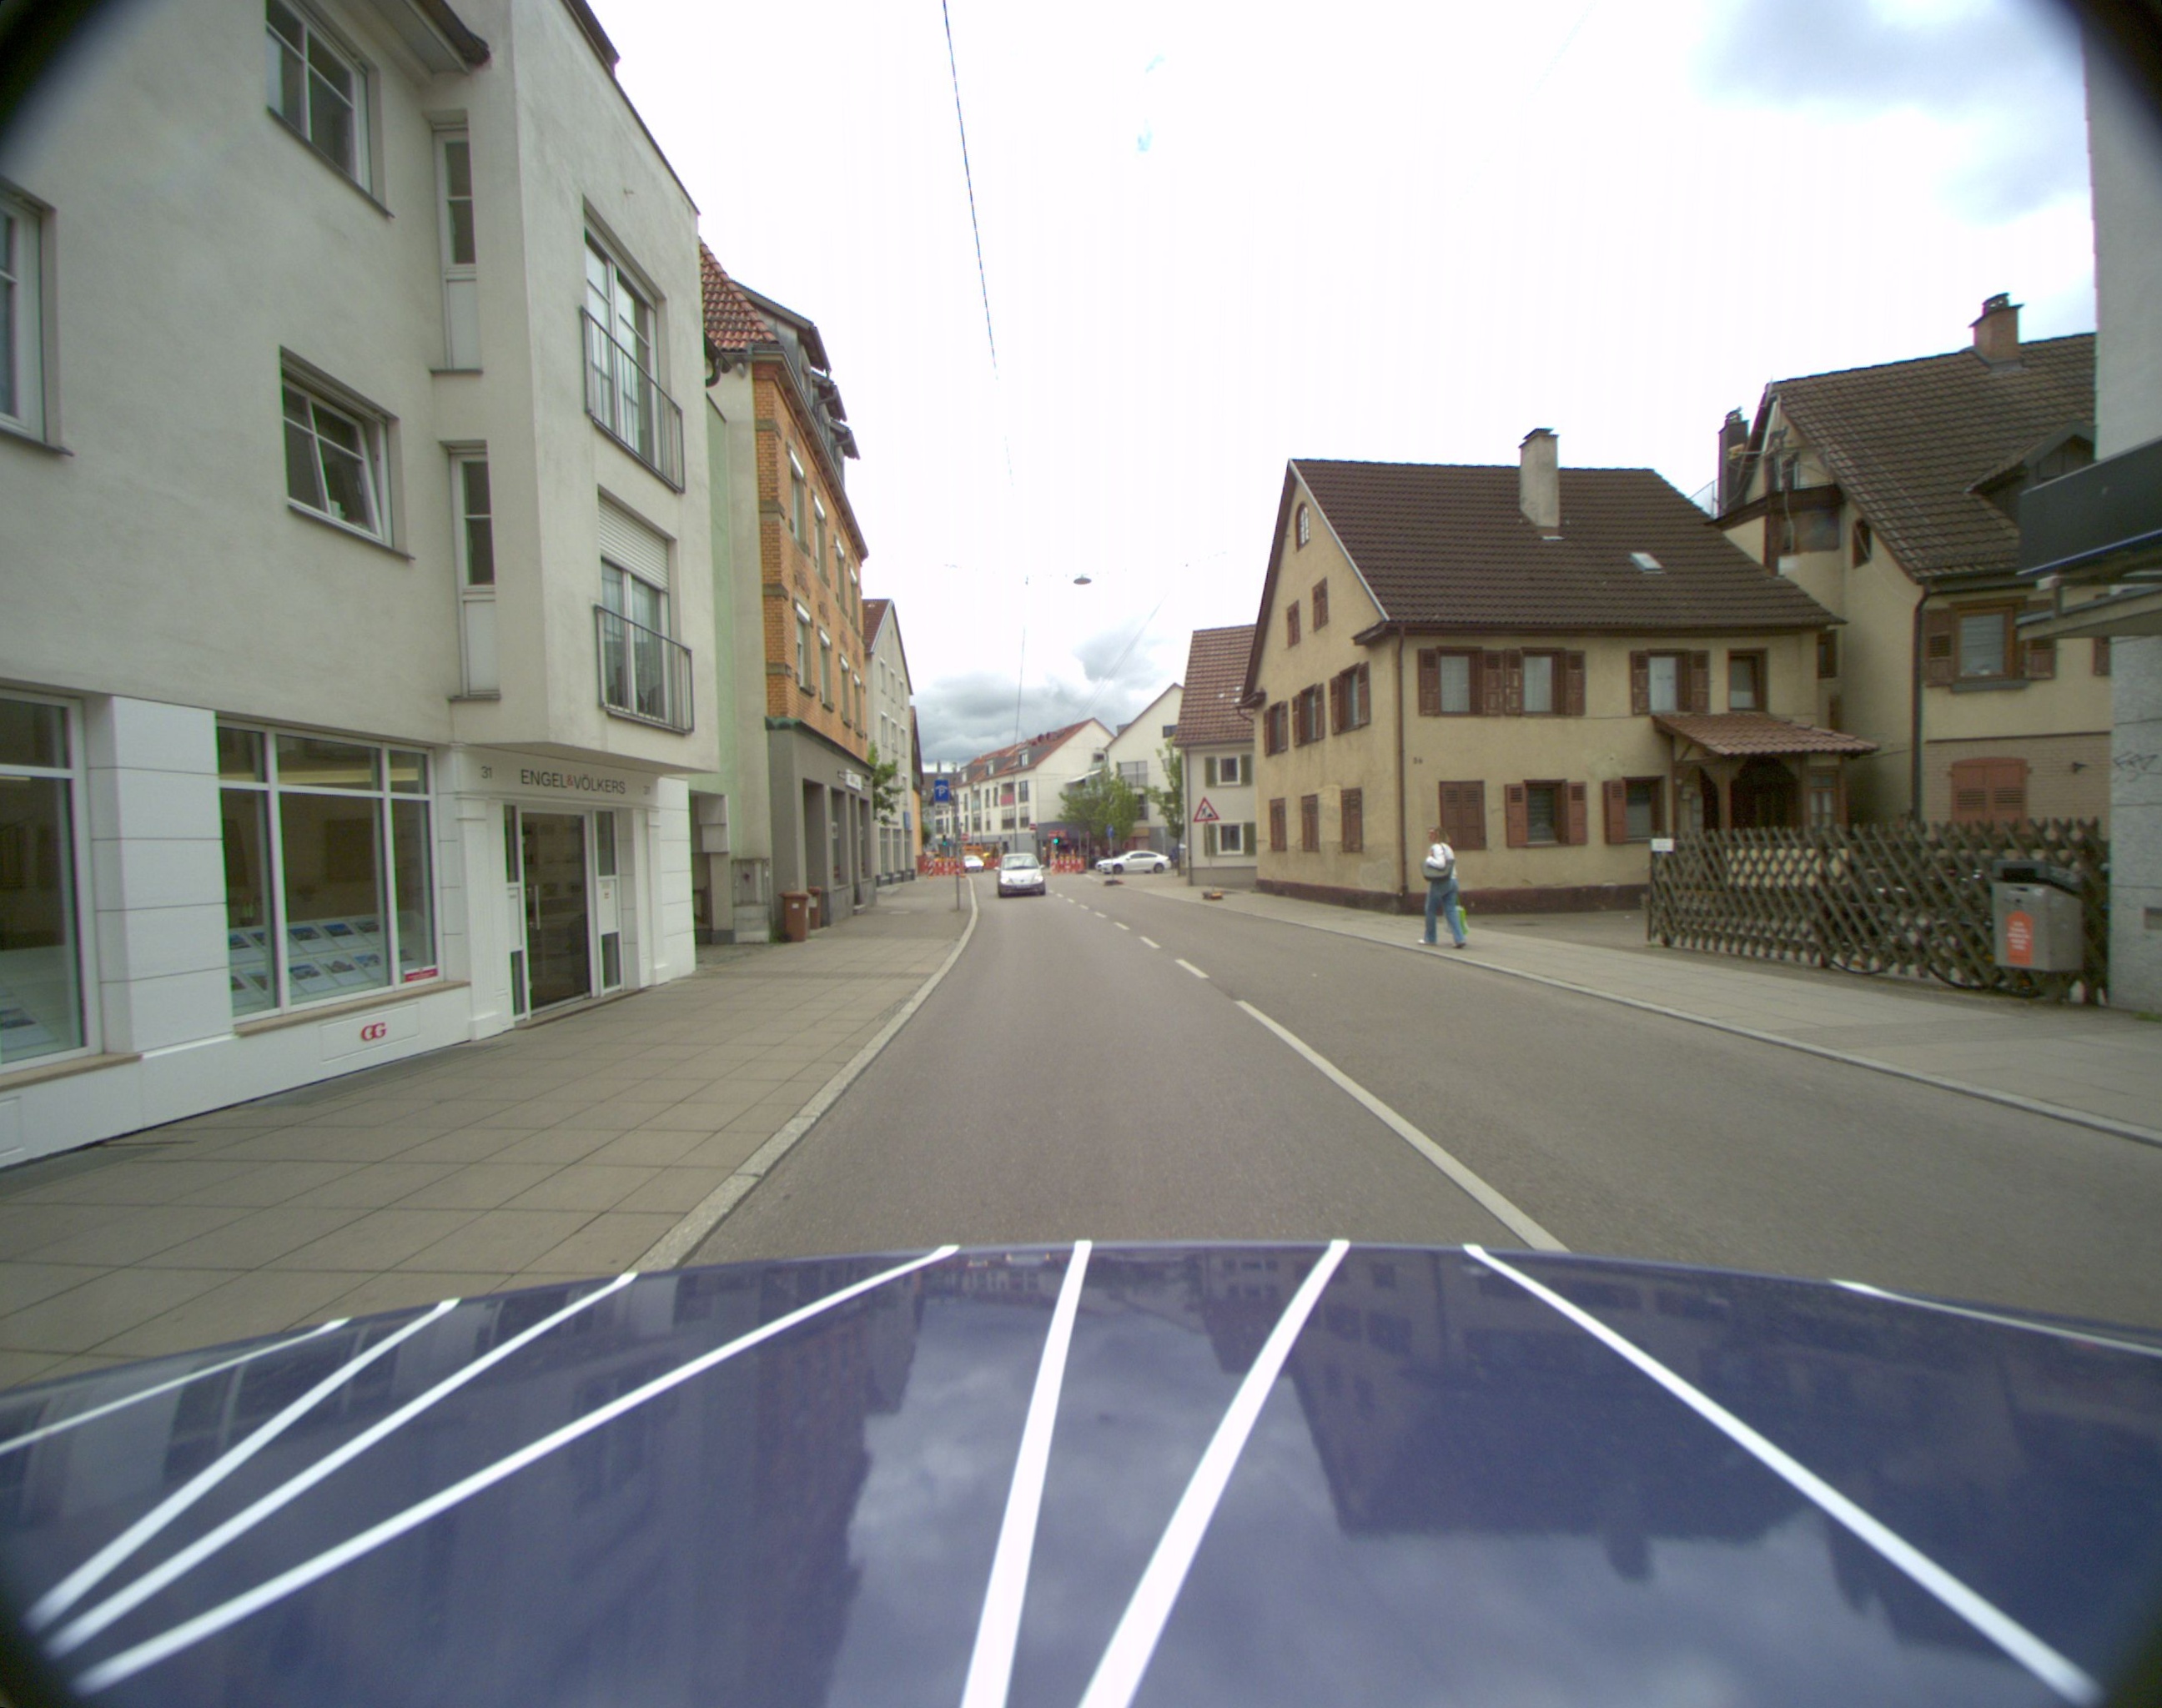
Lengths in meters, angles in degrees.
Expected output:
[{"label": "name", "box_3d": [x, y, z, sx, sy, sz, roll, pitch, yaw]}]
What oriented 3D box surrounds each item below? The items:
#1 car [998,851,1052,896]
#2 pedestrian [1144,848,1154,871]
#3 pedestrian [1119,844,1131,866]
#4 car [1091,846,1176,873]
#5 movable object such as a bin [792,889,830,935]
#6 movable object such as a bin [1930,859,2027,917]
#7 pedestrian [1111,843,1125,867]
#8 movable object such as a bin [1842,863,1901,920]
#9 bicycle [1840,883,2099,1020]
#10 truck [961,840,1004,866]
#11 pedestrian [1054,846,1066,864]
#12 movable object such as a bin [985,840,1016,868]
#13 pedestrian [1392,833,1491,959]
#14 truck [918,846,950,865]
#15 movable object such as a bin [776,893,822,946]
[{"label": "car", "box_3d": [-2.222, 0.728, 29.279, 1.859, 1.547, 4.350, -1, -1, -7]}, {"label": "pedestrian", "box_3d": [4.782, 0.359, 53.479, 0.682, 1.583, 0.879, -1, 1, 1]}, {"label": "pedestrian", "box_3d": [3.655, 0.111, 63.036, 0.695, 1.780, 0.716, -2, 1, -43]}, {"label": "car", "box_3d": [3.334, 0.318, 48.878, 4.922, 1.468, 2.246, -3, 1, -18]}, {"label": "movable object such as a bin", "box_3d": [-5.902, 1.254, 16.616, 0.581, 0.928, 0.739, -1, 1, -4]}, {"label": "movable object such as a bin", "box_3d": [16.512, 0.609, 14.005, 0.968, 1.020, 0.641, -1, 1, 20]}, {"label": "pedestrian", "box_3d": [3.019, 0.100, 62.368, 0.782, 1.914, 0.818, -1, 1, 44]}, {"label": "movable object such as a bin", "box_3d": [15.257, 0.706, 14.681, 0.635, 1.061, 0.535, -1, 1, 26]}, {"label": "bicycle", "box_3d": [8.174, 0.833, 7.114, 0.324, 1.047, 1.748, -2, 1, -2]}, {"label": "truck", "box_3d": [-10.958, -0.069, 83.903, 2.743, 2.709, 6.834, -1, 0, -24]}, {"label": "pedestrian", "box_3d": [-1.922, 0.096, 69.824, 0.835, 1.702, 0.814, -2, 1, -18]}, {"label": "movable object such as a bin", "box_3d": [-8.152, -0.045, 76.567, 1.847, 2.748, 4.496, -1, 1, -22]}, {"label": "pedestrian", "box_3d": [5.005, 0.553, 10.583, 0.895, 1.655, 0.861, -1, 1, -10]}, {"label": "truck", "box_3d": [-19.676, 0.239, 101.479, 2.425, 2.451, 6.294, -1, -1, -28]}, {"label": "movable object such as a bin", "box_3d": [-5.246, 1.214, 14.144, 0.621, 0.916, 0.581, -1, 1, -3]}]
